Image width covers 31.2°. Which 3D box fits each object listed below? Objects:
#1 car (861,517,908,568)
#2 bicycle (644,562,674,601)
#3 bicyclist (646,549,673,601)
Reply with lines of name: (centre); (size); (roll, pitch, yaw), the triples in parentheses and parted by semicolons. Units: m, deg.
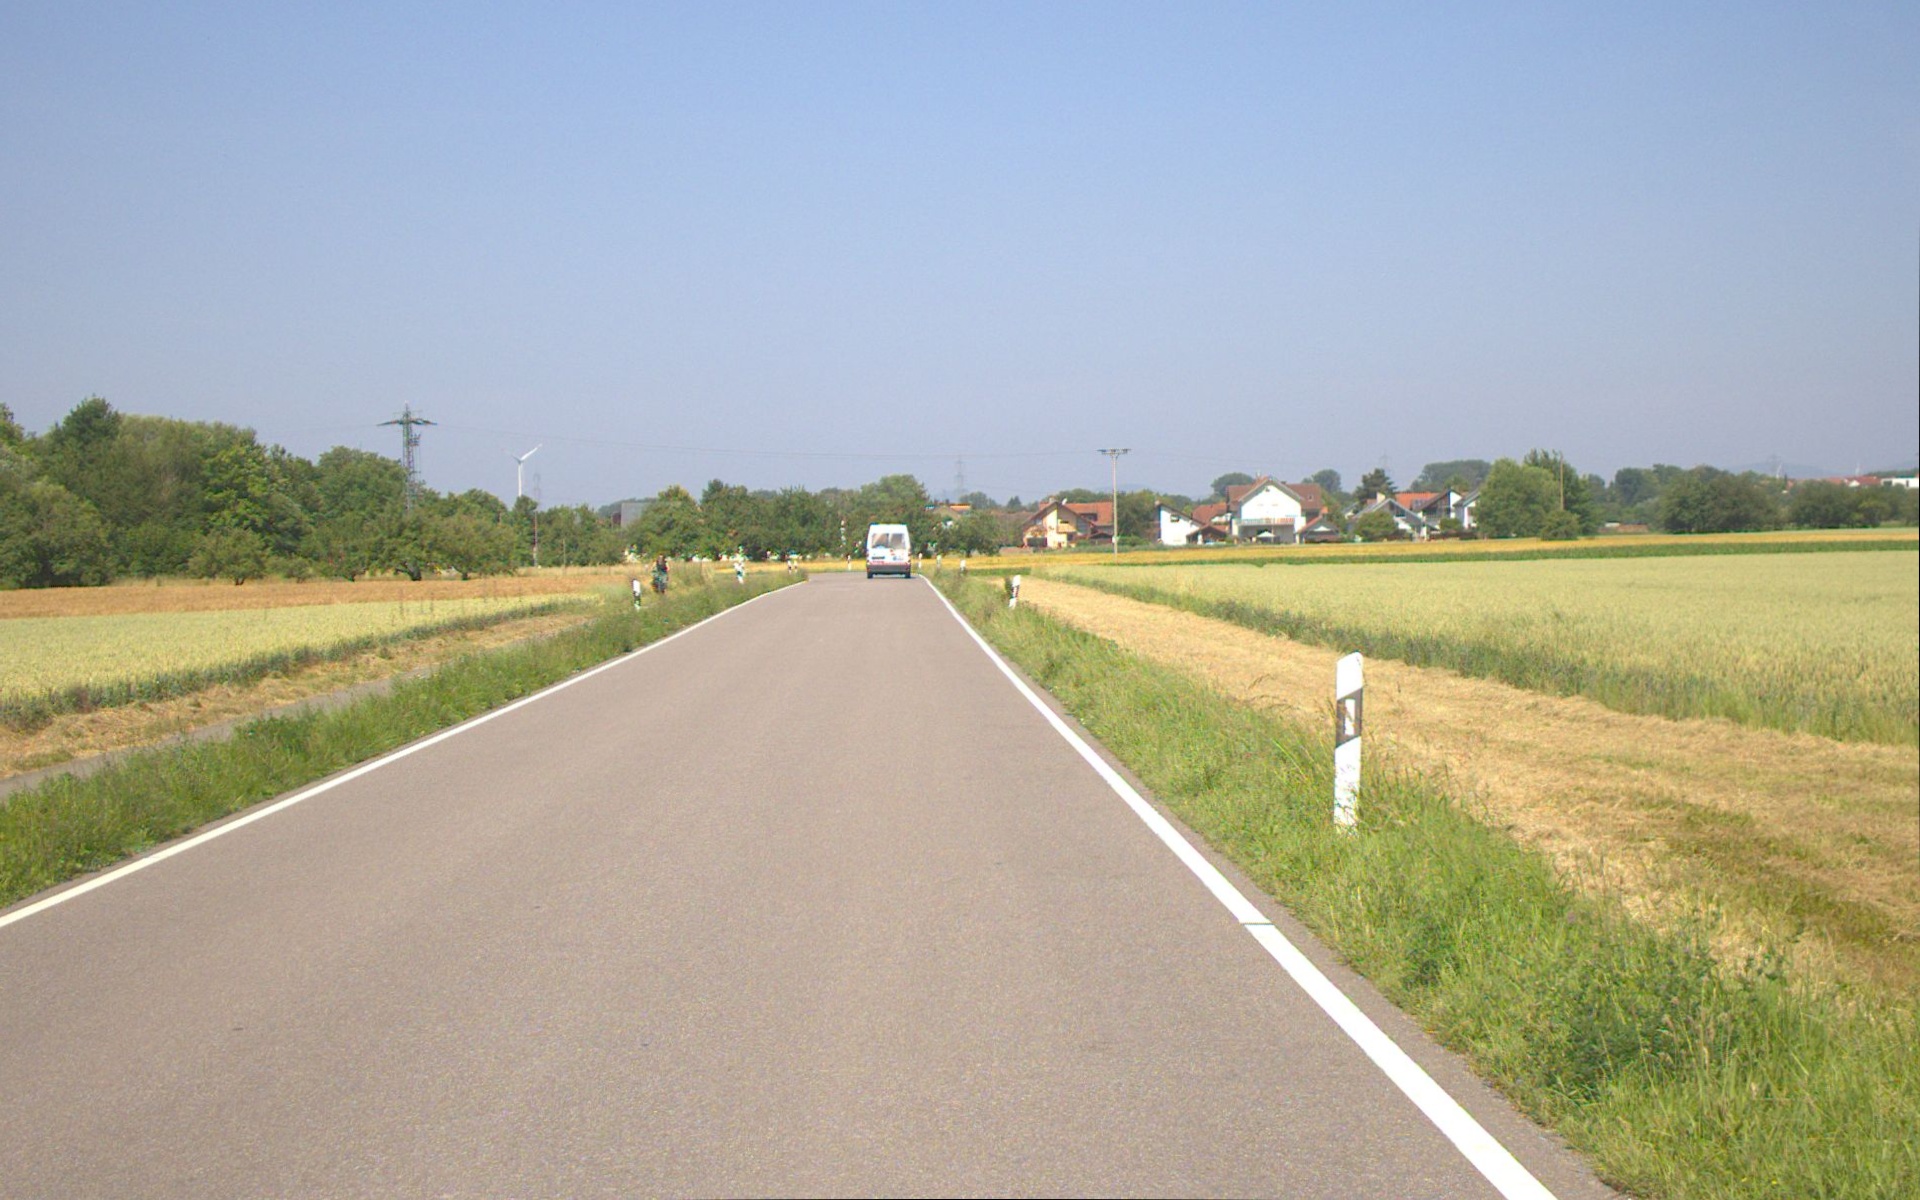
car: (-3.458, -2.648, 158.151); (2.107, 2.296, 5.496); (1, 1, -1)
bicycle: (-10.001, -0.616, 114.342); (0.759, 1.231, 2.394); (-3, 1, -1)
bicyclist: (-9.999, -0.840, 114.481); (0.760, 1.667, 1.089); (-3, 1, -1)
